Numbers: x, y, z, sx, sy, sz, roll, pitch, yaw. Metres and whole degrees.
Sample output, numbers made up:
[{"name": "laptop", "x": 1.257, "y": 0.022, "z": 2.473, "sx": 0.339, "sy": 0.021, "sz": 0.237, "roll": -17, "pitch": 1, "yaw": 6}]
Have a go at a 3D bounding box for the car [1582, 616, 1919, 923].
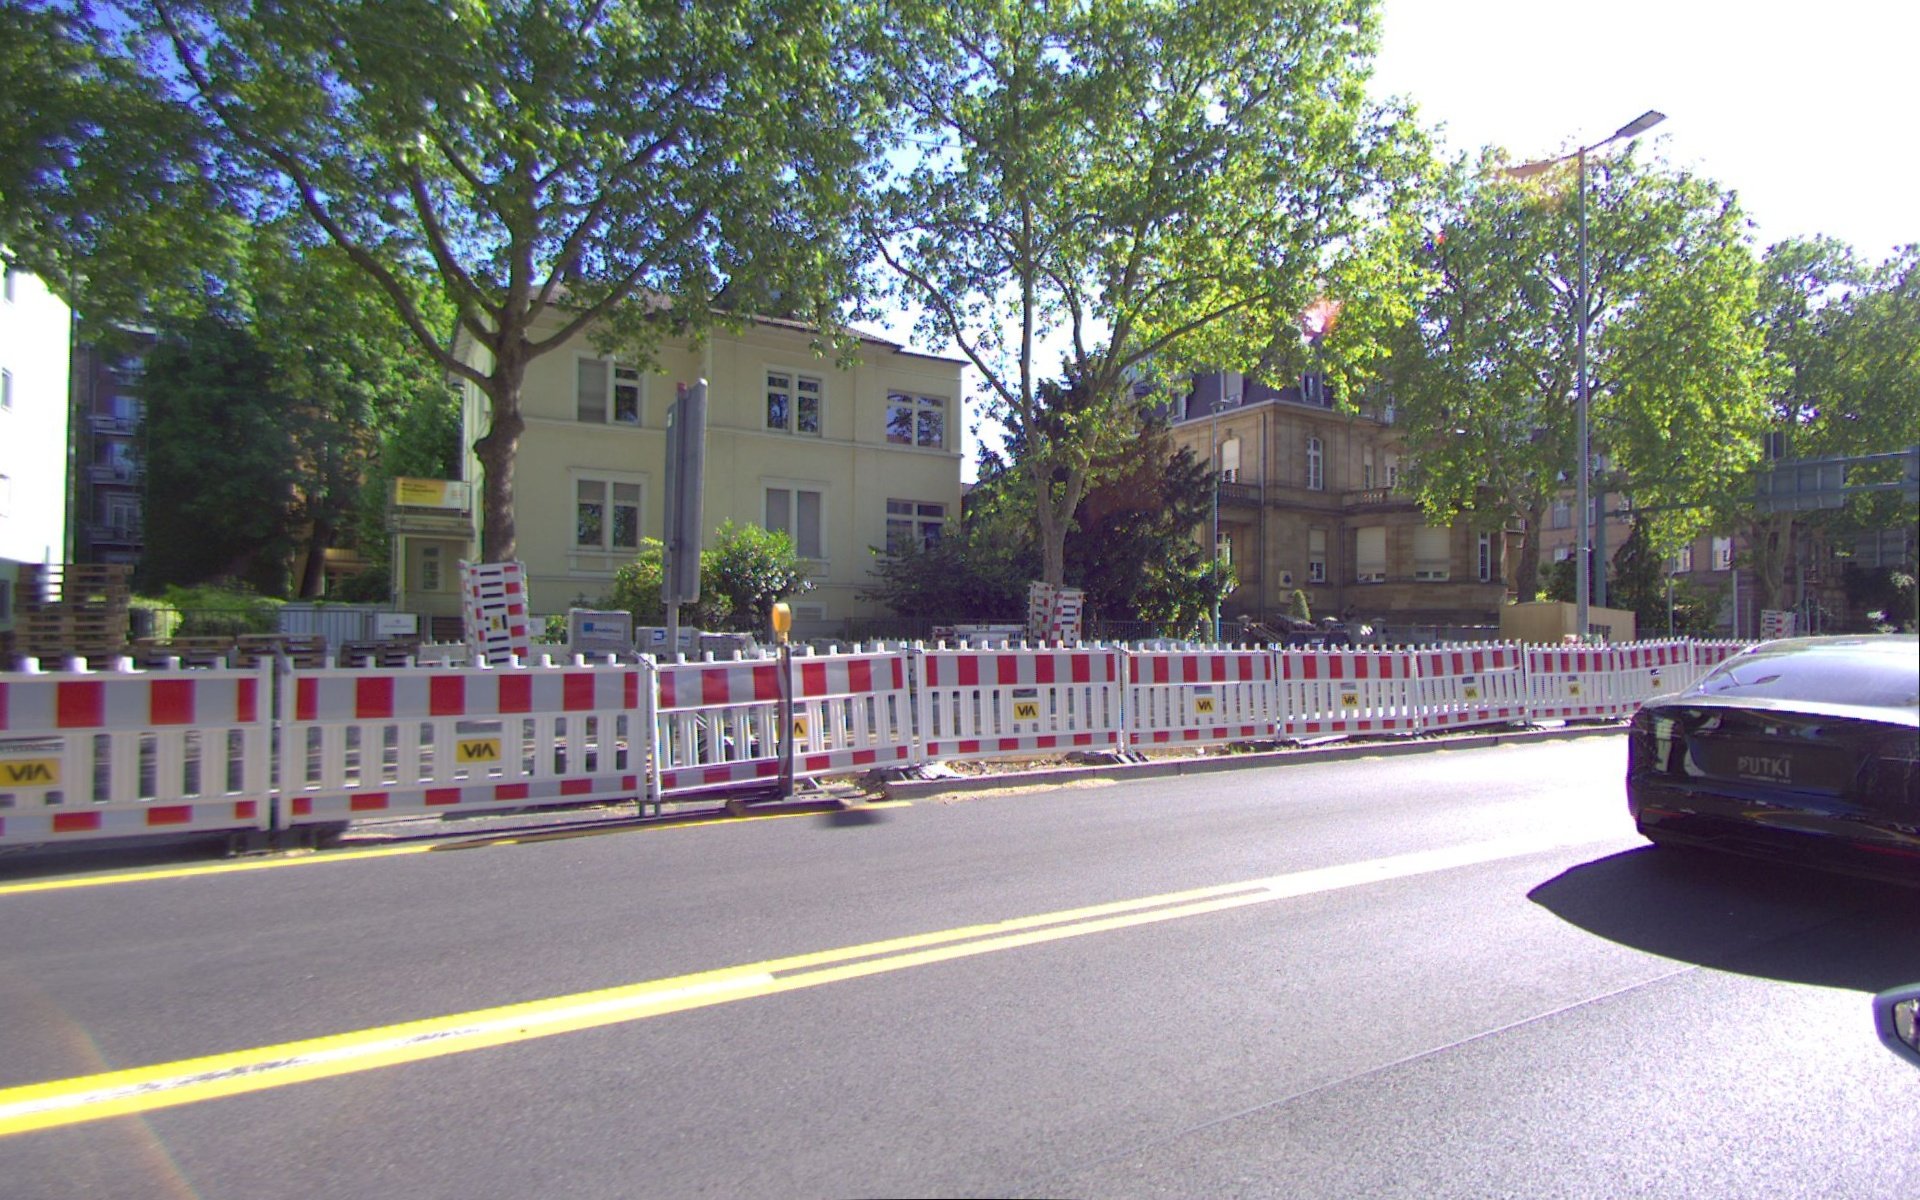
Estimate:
[{"name": "car", "x": 6.268, "y": 0.866, "z": 6.534, "sx": 4.573, "sy": 1.431, "sz": 1.915, "roll": 1, "pitch": 0, "yaw": -31}]
